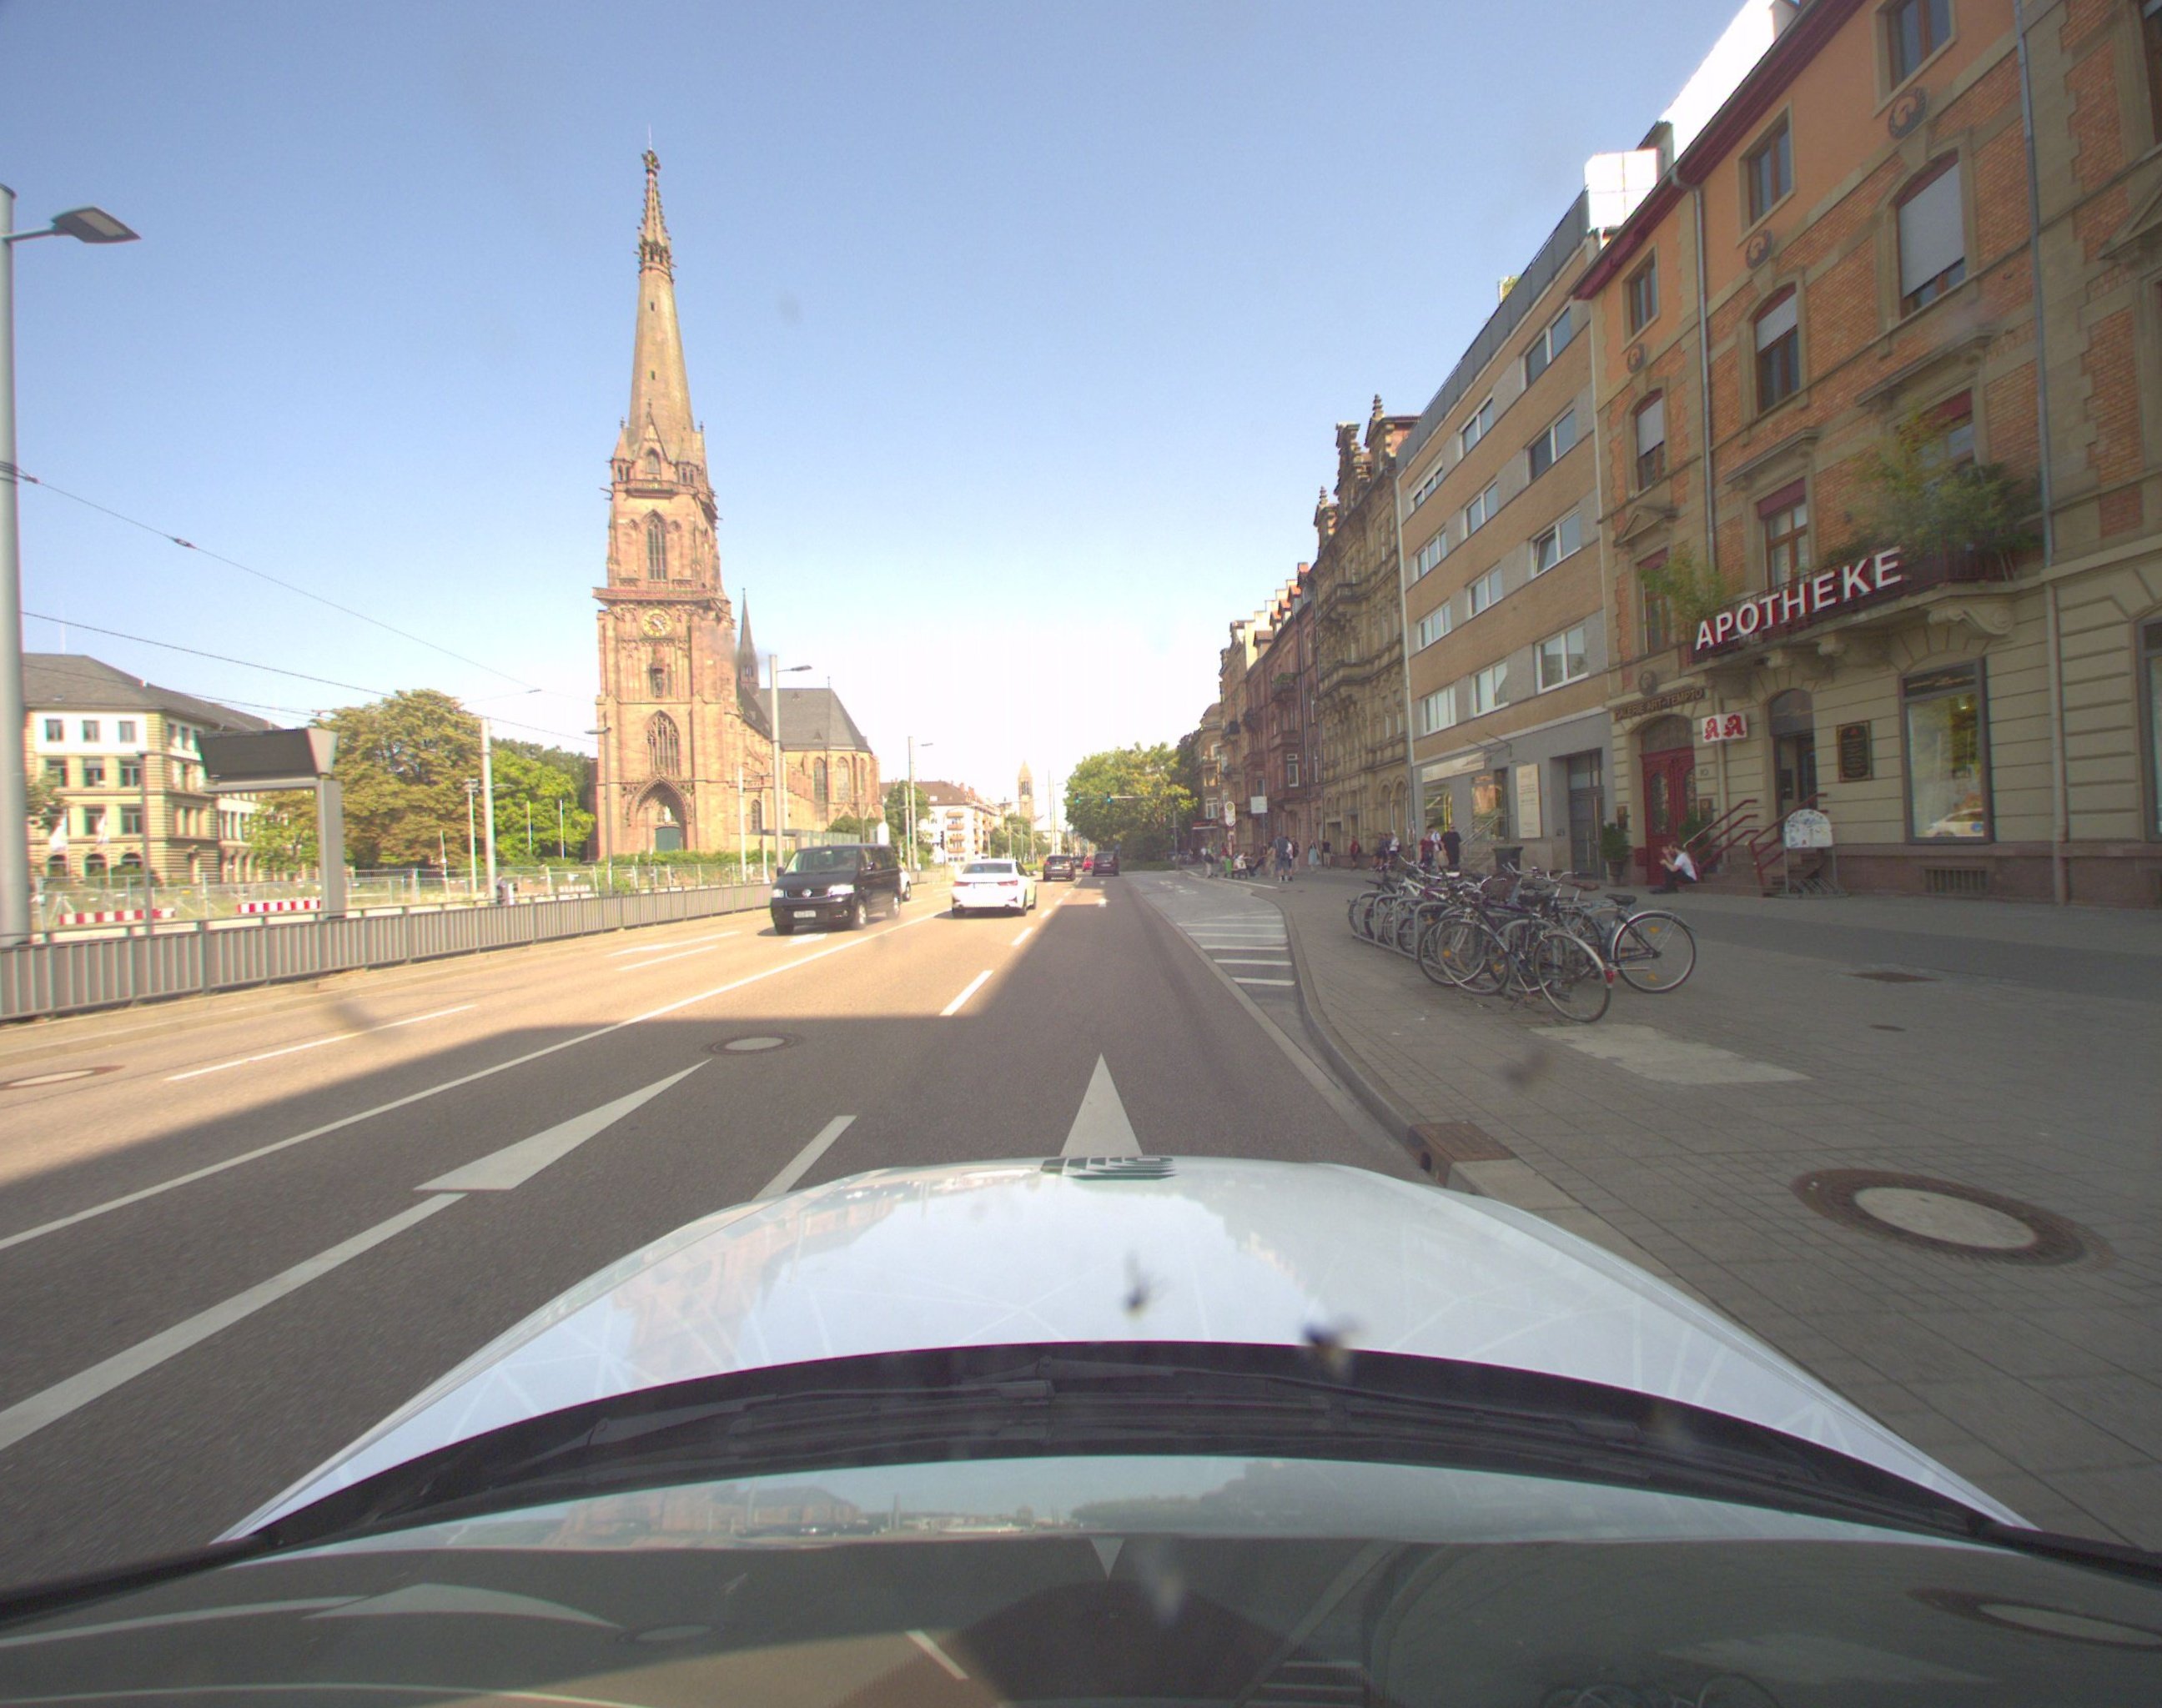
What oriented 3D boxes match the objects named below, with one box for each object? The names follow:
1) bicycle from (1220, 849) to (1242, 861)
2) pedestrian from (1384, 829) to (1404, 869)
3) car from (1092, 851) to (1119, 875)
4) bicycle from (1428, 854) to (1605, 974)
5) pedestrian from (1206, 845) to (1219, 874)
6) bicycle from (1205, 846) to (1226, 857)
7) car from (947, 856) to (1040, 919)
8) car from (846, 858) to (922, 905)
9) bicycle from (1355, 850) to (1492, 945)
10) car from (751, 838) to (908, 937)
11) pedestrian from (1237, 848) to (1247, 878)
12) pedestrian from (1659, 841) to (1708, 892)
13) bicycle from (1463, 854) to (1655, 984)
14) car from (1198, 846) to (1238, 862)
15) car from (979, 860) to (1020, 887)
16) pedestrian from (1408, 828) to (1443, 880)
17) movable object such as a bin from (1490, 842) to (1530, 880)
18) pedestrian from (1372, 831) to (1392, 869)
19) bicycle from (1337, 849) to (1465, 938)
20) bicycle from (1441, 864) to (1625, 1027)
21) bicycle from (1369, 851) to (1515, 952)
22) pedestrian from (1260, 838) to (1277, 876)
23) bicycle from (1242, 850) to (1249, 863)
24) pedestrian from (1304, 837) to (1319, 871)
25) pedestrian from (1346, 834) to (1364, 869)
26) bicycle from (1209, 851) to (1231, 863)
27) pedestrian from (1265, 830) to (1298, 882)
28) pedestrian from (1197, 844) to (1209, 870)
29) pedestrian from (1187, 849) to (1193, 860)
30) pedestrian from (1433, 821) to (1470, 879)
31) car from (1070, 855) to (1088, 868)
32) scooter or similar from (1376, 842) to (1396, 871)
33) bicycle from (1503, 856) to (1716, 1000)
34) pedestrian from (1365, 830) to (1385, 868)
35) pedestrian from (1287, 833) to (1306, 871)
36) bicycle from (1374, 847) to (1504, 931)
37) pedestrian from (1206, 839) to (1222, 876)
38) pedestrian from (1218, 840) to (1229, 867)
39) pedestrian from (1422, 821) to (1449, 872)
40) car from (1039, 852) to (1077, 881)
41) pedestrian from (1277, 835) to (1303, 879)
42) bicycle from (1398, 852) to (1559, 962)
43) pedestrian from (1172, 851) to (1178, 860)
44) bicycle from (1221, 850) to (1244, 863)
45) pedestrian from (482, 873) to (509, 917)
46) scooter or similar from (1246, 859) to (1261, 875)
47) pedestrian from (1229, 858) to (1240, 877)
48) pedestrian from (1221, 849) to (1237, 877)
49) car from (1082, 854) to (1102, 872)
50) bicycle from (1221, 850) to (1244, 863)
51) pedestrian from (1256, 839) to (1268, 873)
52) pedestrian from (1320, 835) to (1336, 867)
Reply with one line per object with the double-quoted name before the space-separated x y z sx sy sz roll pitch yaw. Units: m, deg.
"bicycle" 13.662 0.107 74.218 1.924 1.048 0.499 -3 0 -4
"pedestrian" 13.752 -0.212 35.808 0.601 1.731 0.510 -3 0 -2
"car" 1.731 0.627 57.674 1.824 1.621 4.359 -1 0 2
"bicycle" 4.550 0.608 8.536 1.629 1.148 0.385 -3 0 -4
"pedestrian" 7.450 0.321 46.122 0.526 1.612 0.702 -3 0 -2
"bicycle" 13.342 -0.263 80.857 1.924 1.048 0.526 -3 0 -4
"car" -2.180 0.794 21.578 1.802 1.427 4.776 0 0 1
"car" -7.747 1.038 32.426 1.707 1.611 4.506 -4 0 1
"bicycle" 4.514 0.563 10.755 1.629 1.148 0.385 -3 0 -4
"car" -5.676 0.692 19.115 1.986 1.904 4.718 -4 0 1
"pedestrian" 7.060 0.395 35.689 0.275 1.274 0.447 -3 0 -5
"pedestrian" 12.109 0.241 16.383 0.606 0.982 0.640 -3 0 21
"bicycle" 4.611 0.612 7.884 1.629 1.148 0.385 -3 0 -4
"car" 15.496 0.008 92.160 4.170 1.563 1.998 -3 0 -3
"car" -4.585 1.085 46.352 1.707 1.331 4.522 -4 0 1
"pedestrian" 10.877 -0.002 25.714 0.717 1.610 0.857 -2 0 3
"movable object such as a bin" 12.646 0.202 24.007 0.738 1.080 0.666 -3 0 -15
"pedestrian" 13.624 -0.175 36.867 0.601 1.692 0.587 -3 0 -2
"bicycle" 4.484 0.547 11.437 1.629 1.148 0.385 -3 0 -4
"bicycle" 3.646 0.669 6.732 0.406 1.148 1.653 -3 0 -6
"bicycle" 4.475 0.574 10.122 1.629 1.148 0.385 -3 0 -4
"pedestrian" 8.851 0.141 38.508 0.563 1.729 0.617 -3 0 -2
"bicycle" 14.368 0.199 71.174 0.414 1.048 1.673 -3 0 7
"pedestrian" 11.272 0.012 39.782 0.484 1.610 0.813 -2 0 3
"pedestrian" 13.294 -0.116 39.556 0.601 1.654 0.587 -3 0 -2
"bicycle" 13.362 0.282 78.297 1.924 1.048 0.526 -3 0 -4
"pedestrian" 7.306 0.077 29.667 0.923 1.831 0.800 -3 0 -2
"pedestrian" 7.965 0.190 53.164 0.688 1.664 0.620 -3 0 2
"pedestrian" 12.876 0.049 95.784 0.595 1.248 0.507 -3 0 1
"pedestrian" 11.660 -0.121 25.662 0.717 1.787 0.857 -2 0 3
"car" -0.195 0.865 93.519 1.857 1.424 4.359 -1 0 2
"scooter or similar" 12.991 0.106 34.655 0.359 1.163 1.152 -3 0 -1
"bicycle" 4.638 0.634 7.181 1.629 1.148 0.385 -3 0 -4
"pedestrian" 13.550 -0.241 37.536 0.601 1.692 0.587 -3 0 -2
"pedestrian" 10.457 -0.099 39.525 0.614 1.804 1.072 -2 0 3
"bicycle" 5.290 0.508 12.091 1.626 1.148 0.602 -3 0 3
"pedestrian" 6.315 0.180 38.746 0.563 1.729 0.745 -3 0 -2
"pedestrian" 9.224 -0.014 52.667 0.480 1.702 0.702 -3 0 -2
"pedestrian" 12.959 -0.270 29.787 0.601 1.831 0.742 -3 0 -2
"car" -1.326 0.732 49.345 1.986 1.621 4.359 -1 0 2
"pedestrian" 8.378 0.117 32.607 0.747 1.729 0.800 -3 0 -2
"bicycle" 4.529 0.590 9.306 1.629 1.148 0.385 -3 0 -4
"pedestrian" 10.869 0.153 94.202 0.446 1.070 0.482 -2 0 -29
"bicycle" 13.696 0.218 73.646 1.924 1.048 0.499 -3 0 -4
"pedestrian" -23.280 1.623 32.375 0.515 1.700 0.665 -2 0 1
"scooter or similar" 8.166 0.603 38.474 0.563 0.741 0.514 -3 0 -2
"pedestrian" 6.919 0.599 36.748 0.302 0.820 0.603 -3 0 -6
"pedestrian" 7.020 0.422 38.656 0.563 1.277 0.596 -3 0 -2
"car" 1.059 0.830 76.881 1.824 1.621 4.359 -1 0 2
"bicycle" 13.557 0.218 72.889 1.924 1.048 0.499 -3 0 -4
"pedestrian" 9.254 0.107 41.683 0.340 1.732 0.805 -3 0 -1
"pedestrian" 13.385 -0.164 44.105 0.627 1.719 0.691 -3 0 1
